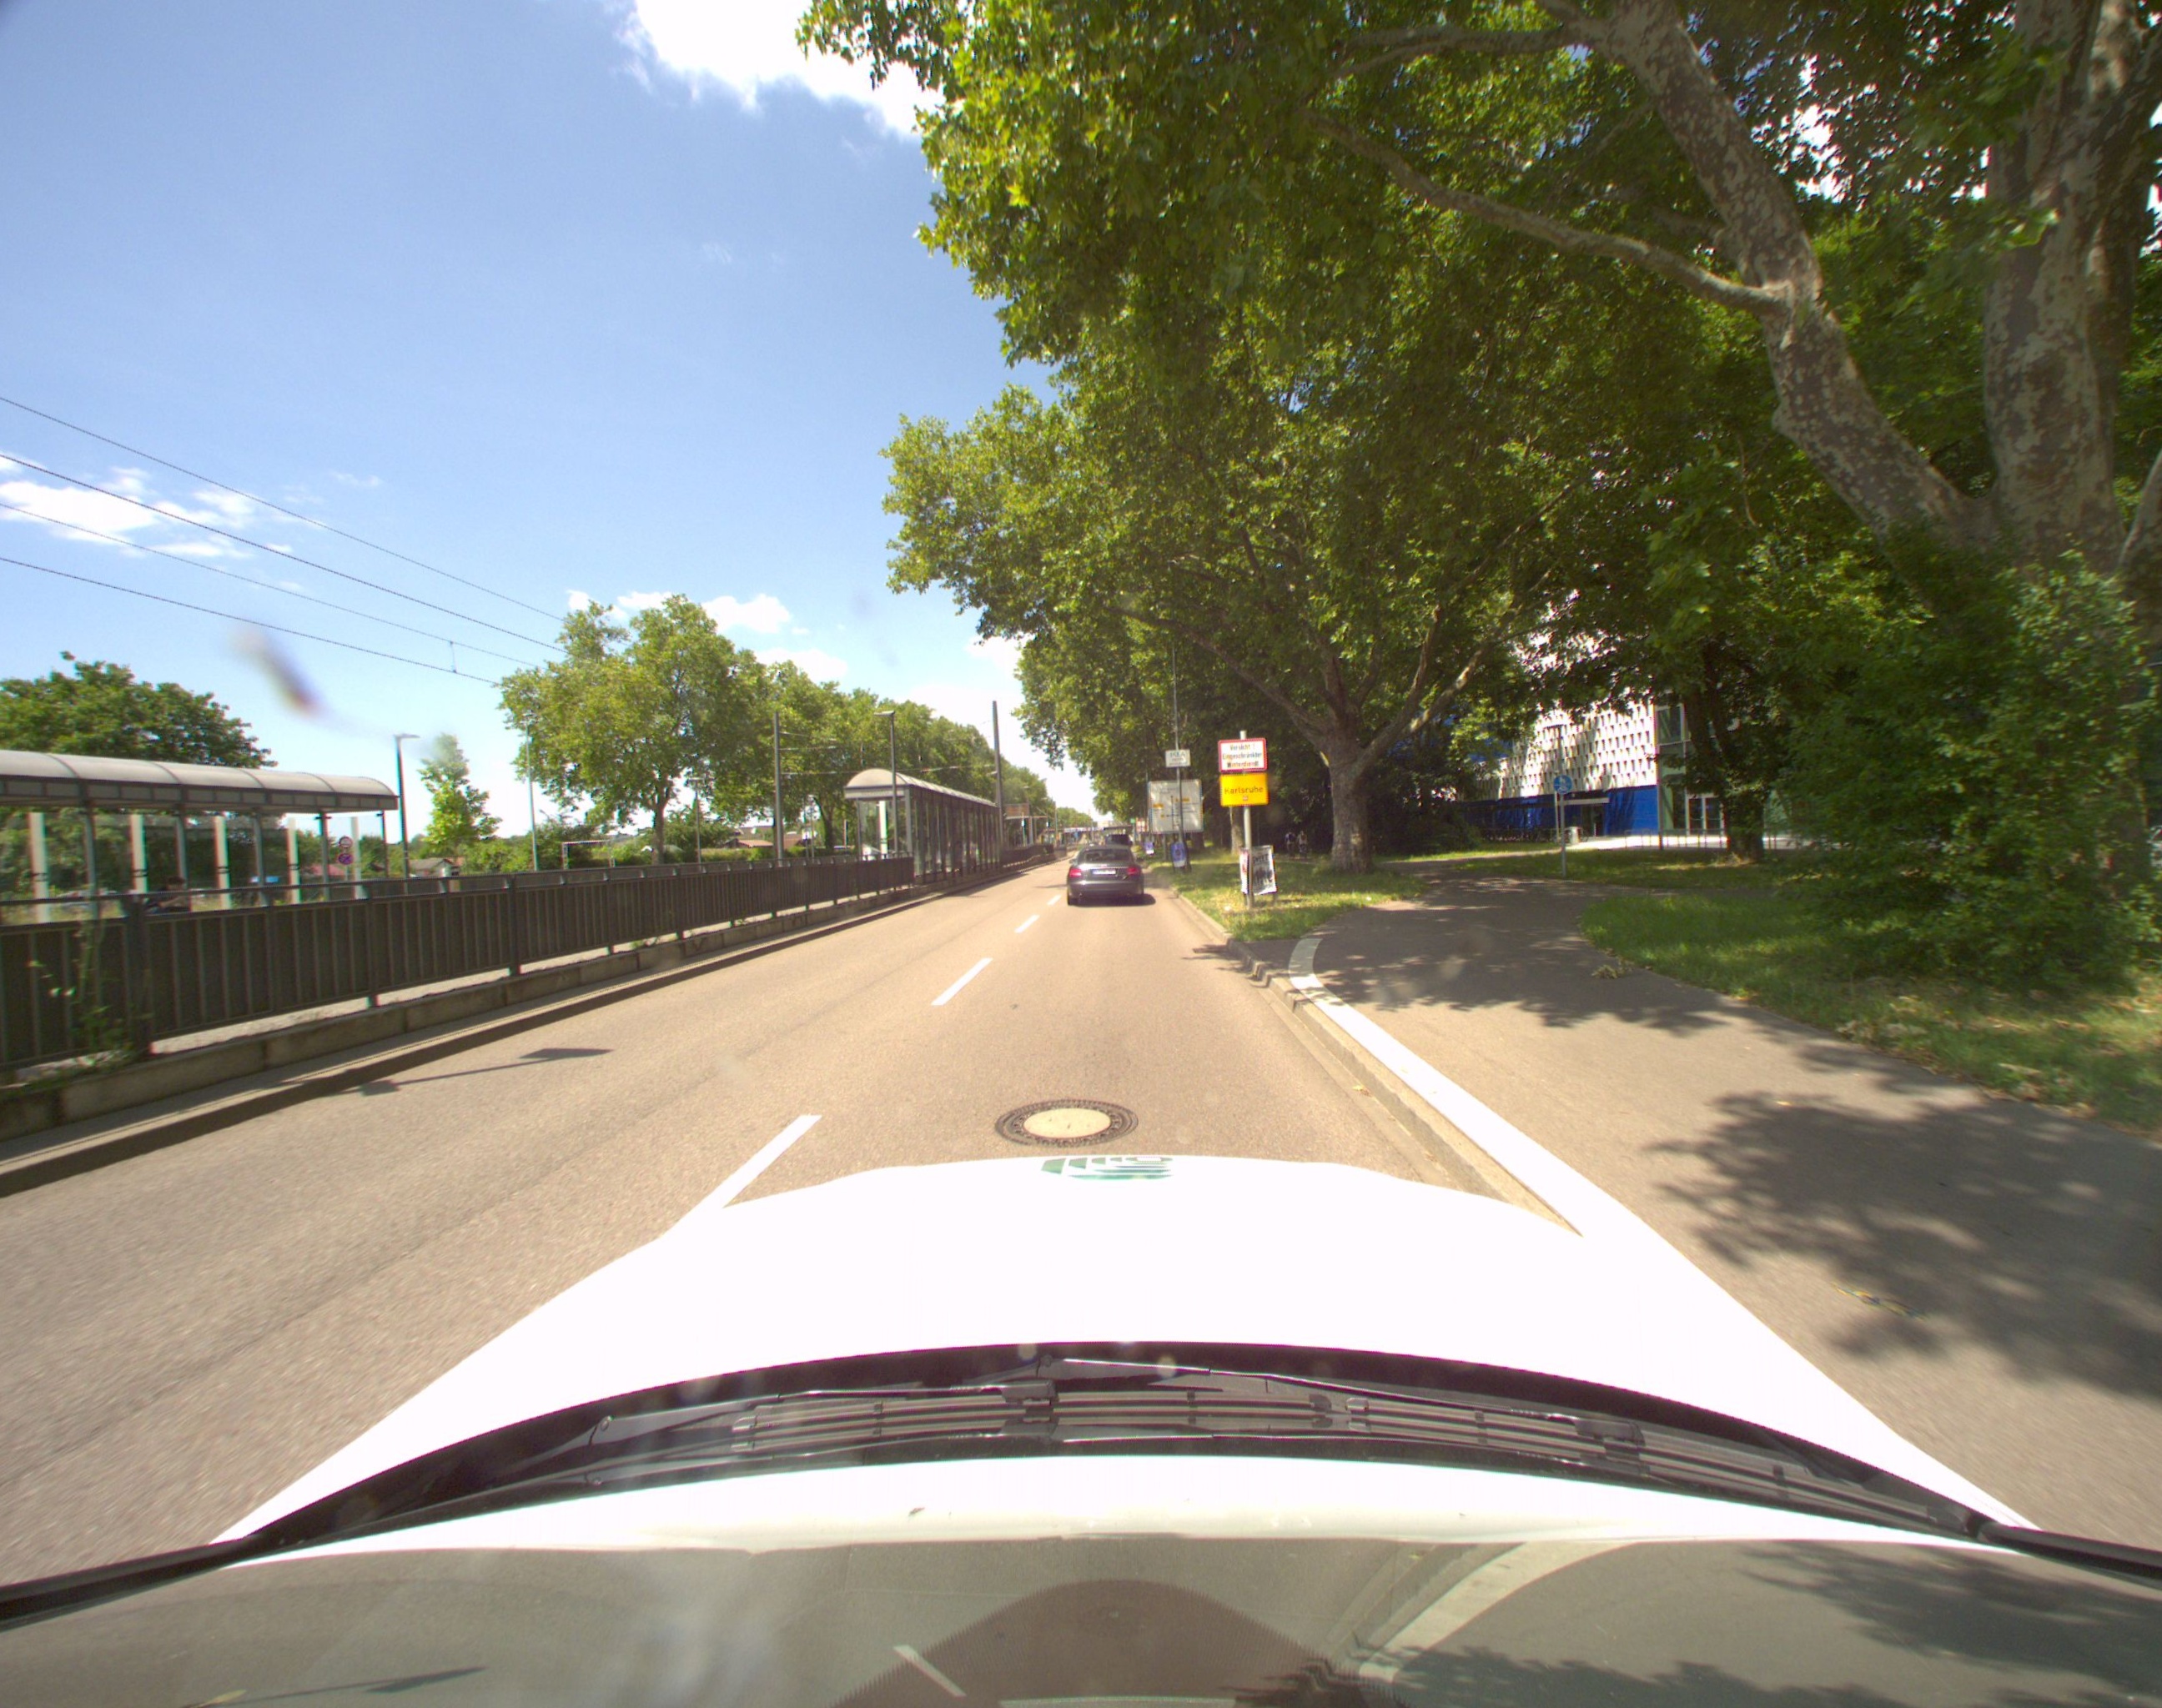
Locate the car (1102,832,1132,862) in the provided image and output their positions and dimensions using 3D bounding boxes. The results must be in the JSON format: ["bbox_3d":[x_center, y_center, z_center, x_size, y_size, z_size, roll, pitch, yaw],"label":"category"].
[{"bbox_3d":[2.508,-0.518,55.898,1.840,1.959,4.150,-1,1,5],"label":"car"}]

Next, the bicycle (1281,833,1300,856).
[{"bbox_3d":[13.231,-0.615,51.565,0.608,1.419,2.663,-2,1,2],"label":"bicycle"}]

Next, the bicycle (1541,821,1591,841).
[{"bbox_3d":[28.531,-1.337,47.930,2.539,1.110,0.758,-2,1,-2],"label":"bicycle"}]

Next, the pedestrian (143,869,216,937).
[{"bbox_3d":[-16.651,0.891,15.050,0.574,1.190,0.639,-2,1,3],"label":"pedestrian"}]

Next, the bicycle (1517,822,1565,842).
[{"bbox_3d":[28.261,-1.353,50.091,2.539,1.110,0.758,-2,1,-2],"label":"bicycle"}]

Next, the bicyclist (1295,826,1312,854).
[{"bbox_3d":[12.893,-0.817,47.209,0.655,1.599,1.054,-2,1,3],"label":"bicyclist"}]

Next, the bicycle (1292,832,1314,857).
[{"bbox_3d":[12.911,-0.570,47.461,0.608,1.419,2.663,-2,1,2],"label":"bicycle"}]

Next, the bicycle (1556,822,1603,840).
[{"bbox_3d":[28.651,-1.328,46.817,2.310,0.960,0.758,-2,1,-2],"label":"bicycle"}]

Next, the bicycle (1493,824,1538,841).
[{"bbox_3d":[28.096,-1.376,52.638,2.539,0.970,0.758,-2,1,-2],"label":"bicycle"}]

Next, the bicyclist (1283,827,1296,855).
[{"bbox_3d":[13.235,-0.849,51.716,0.595,1.745,0.844,-2,1,2],"label":"bicyclist"}]

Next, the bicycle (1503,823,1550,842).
[{"bbox_3d":[28.091,-1.363,51.366,2.539,1.110,0.758,-2,1,-2],"label":"bicycle"}]

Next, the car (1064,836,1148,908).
[{"bbox_3d":[0.565,0.352,20.300,1.836,1.484,4.000,-2,2,0],"label":"car"}]

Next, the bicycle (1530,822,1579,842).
[{"bbox_3d":[28.452,-1.345,48.914,2.539,1.110,0.758,-2,1,-2],"label":"bicycle"}]
